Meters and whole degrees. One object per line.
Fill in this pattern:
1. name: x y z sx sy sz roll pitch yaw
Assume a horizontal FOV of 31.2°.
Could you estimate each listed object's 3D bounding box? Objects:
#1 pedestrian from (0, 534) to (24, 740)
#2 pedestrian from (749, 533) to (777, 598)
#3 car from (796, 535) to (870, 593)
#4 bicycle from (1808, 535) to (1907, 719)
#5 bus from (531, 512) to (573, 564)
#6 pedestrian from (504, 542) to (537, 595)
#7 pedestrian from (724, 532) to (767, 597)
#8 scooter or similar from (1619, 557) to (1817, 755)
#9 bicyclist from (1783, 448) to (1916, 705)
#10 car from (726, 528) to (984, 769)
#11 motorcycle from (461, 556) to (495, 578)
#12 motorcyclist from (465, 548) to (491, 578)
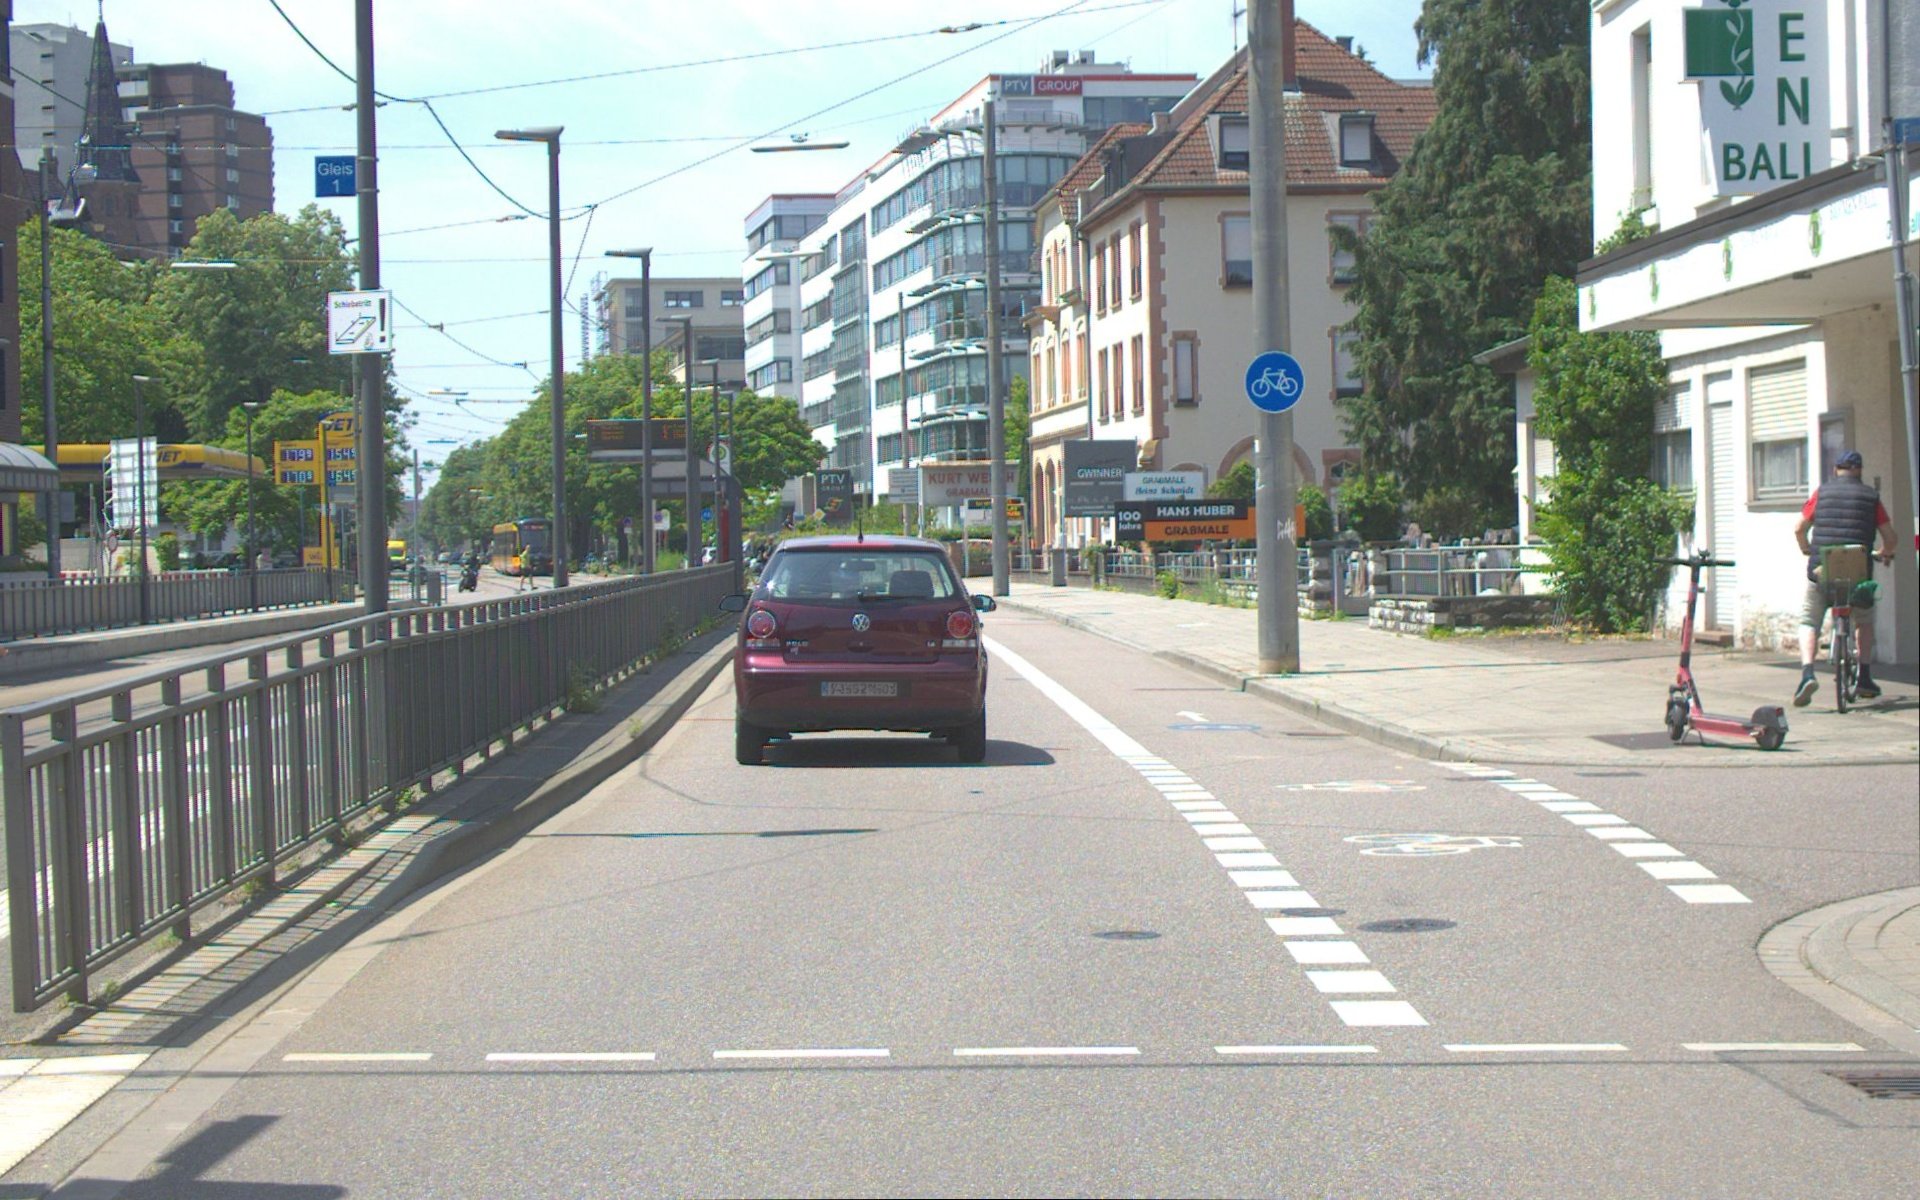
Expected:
1. pedestrian: -8.295 0.308 28.215 1.096 1.669 0.766 -2 1 -12
2. pedestrian: -5.644 -0.980 98.498 0.744 1.830 0.792 -2 1 -4
3. car: -3.777 -1.084 101.578 1.993 1.619 4.632 -2 1 -4
4. bicycle: 6.250 0.167 23.888 0.376 1.193 1.903 -1 2 23
5. bus: -24.527 -3.705 206.404 2.144 2.992 6.575 -2 1 -9
6. pedestrian: -16.918 -1.224 132.407 1.109 2.007 1.039 -1 1 -1
7. pedestrian: -6.225 -1.028 99.804 1.168 1.830 0.792 -2 1 -4
8. scooter or similar: 4.657 0.328 21.208 0.339 1.174 1.468 -2 1 -25
9. bicyclist: 6.238 -0.171 24.080 0.728 1.754 0.923 -1 2 23
10. car: -0.712 0.274 22.816 1.561 1.448 3.062 -2 1 -2
11. motorcycle: -18.940 -1.286 135.071 0.872 0.803 1.909 -2 2 6
12. motorcyclist: -18.933 -1.468 135.056 0.849 1.136 0.634 -2 1 6
